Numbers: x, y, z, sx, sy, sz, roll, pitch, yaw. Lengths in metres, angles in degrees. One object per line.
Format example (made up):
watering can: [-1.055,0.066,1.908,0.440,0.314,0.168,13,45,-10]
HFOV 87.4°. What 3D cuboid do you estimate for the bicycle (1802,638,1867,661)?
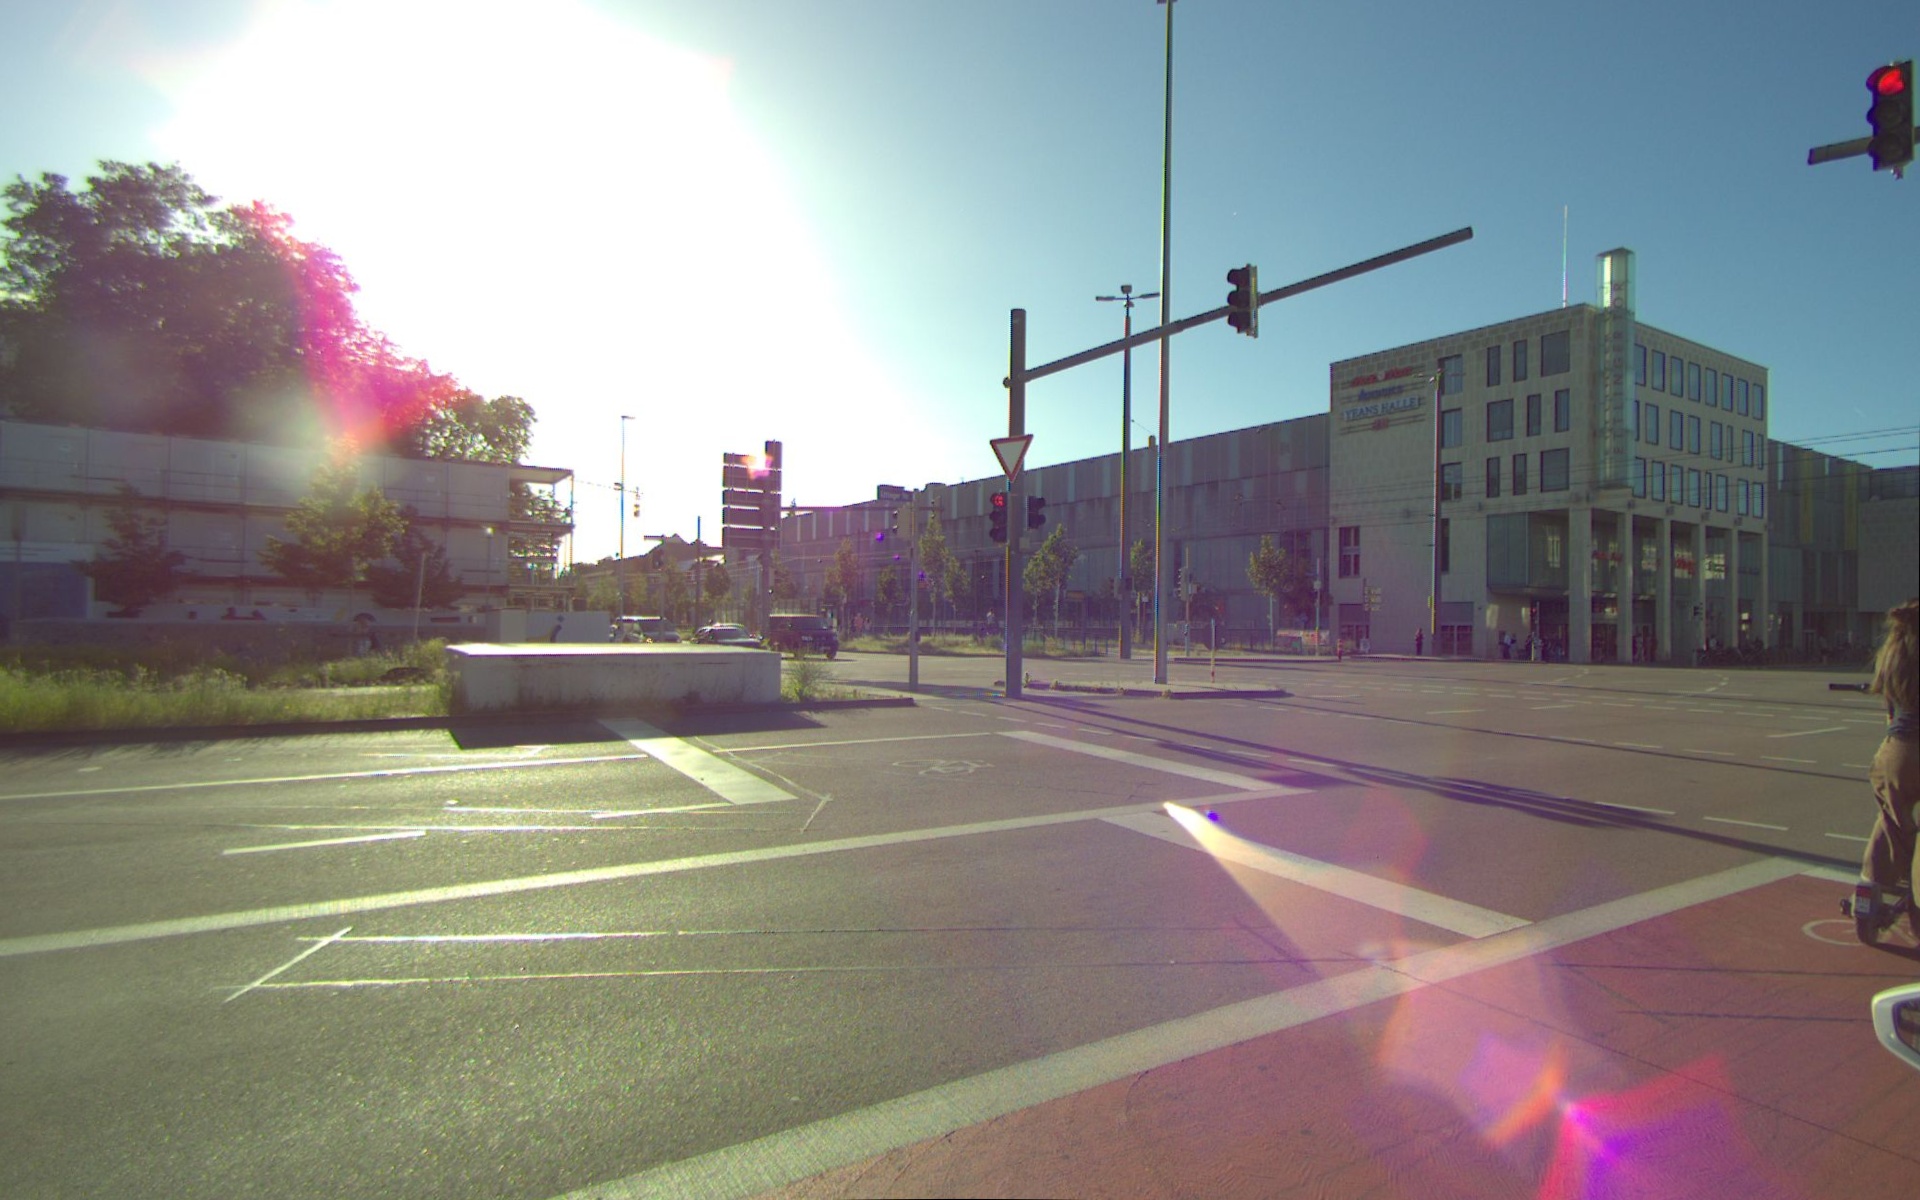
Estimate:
bicycle: [63.701,3.591,73.200,0.979,1.547,3.462,2,-2,-40]

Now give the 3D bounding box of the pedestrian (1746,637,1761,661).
pedestrian: [55.598,3.456,70.394,0.689,1.664,0.648,1,-1,-38]

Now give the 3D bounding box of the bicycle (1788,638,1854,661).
bicycle: [60.376,3.435,70.468,0.979,1.547,3.462,2,-2,-40]

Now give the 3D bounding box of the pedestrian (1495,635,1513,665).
pedestrian: [32.847,3.017,60.664,0.729,1.822,0.752,1,-1,-34]

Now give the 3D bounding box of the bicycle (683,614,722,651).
bicycle: [-14.671,1.827,57.129,1.007,2.040,3.472,1,-2,-33]

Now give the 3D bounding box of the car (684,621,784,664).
car: [-9.403,1.701,41.509,2.313,1.671,4.821,1,-2,-37]

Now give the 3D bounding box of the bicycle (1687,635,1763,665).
bicycle: [45.694,2.977,60.030,1.107,1.719,3.465,1,-2,-38]

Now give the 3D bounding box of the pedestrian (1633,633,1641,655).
pedestrian: [45.696,2.973,67.809,0.363,1.458,0.384,1,-1,-34]

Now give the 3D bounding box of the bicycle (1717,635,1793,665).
bicycle: [48.210,3.013,60.936,1.107,1.719,3.465,1,-2,-38]

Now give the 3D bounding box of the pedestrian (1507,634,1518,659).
pedestrian: [34.650,2.928,62.992,0.452,1.586,0.420,1,-1,-30]

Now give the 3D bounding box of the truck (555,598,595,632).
truck: [-33.484,1.322,87.247,1.979,2.875,6.293,1,-2,-33]

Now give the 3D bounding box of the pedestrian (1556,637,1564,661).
pedestrian: [36.847,3.003,61.676,0.380,1.431,0.438,0,-1,21]

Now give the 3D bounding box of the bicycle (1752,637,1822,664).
bicycle: [54.500,3.322,66.250,0.979,1.719,3.462,2,-2,-40]

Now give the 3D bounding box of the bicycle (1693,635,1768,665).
bicycle: [46.589,2.982,60.808,1.107,1.719,3.465,1,-2,-38]

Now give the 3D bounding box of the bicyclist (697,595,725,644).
bicyclist: [-13.878,1.107,55.961,1.007,2.677,1.610,1,-1,-34]

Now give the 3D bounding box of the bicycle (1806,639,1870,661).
bicycle: [64.500,3.647,73.849,0.979,1.547,3.462,2,-2,-40]

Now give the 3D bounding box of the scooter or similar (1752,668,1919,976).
scooter or similar: [4.563,0.960,4.761,1.645,1.218,0.725,1,-1,-30]

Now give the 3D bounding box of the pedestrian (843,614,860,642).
pedestrian: [-7.104,1.823,65.760,0.889,1.855,0.787,1,-1,-35]

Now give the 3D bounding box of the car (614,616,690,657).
car: [-14.823,1.700,48.126,1.981,1.849,4.821,1,-2,-36]

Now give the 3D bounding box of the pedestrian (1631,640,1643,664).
pedestrian: [44.310,3.401,65.720,0.508,1.606,0.479,1,-1,-34]

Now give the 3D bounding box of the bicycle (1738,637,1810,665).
bicycle: [51.940,3.228,64.156,0.979,1.719,3.462,2,-2,-40]

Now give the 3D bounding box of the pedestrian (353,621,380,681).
pedestrian: [-16.975,1.444,28.730,0.619,1.674,0.935,1,-1,-30]

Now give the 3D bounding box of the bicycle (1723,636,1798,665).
bicycle: [49.139,3.080,61.736,1.107,1.719,3.465,1,-2,-38]

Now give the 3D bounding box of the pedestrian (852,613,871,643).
pedestrian: [-6.058,1.745,61.989,0.889,1.855,0.787,1,-1,-35]

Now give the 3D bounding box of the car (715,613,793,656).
car: [-10.395,1.692,50.415,1.981,2.040,4.821,1,-2,-36]

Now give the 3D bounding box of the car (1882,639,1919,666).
car: [57.662,3.164,60.941,3.964,1.505,1.978,2,-2,-38]

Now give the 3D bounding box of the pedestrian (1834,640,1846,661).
pedestrian: [68.968,3.958,78.704,0.688,1.664,0.692,0,-1,38]

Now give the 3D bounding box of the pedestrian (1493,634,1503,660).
pedestrian: [34.113,2.976,63.670,0.452,1.586,0.420,1,-1,-30]

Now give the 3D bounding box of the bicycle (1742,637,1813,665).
bicycle: [52.854,3.260,64.960,0.979,1.719,3.462,2,-2,-40]

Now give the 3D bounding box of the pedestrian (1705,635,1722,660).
pedestrian: [50.337,3.188,67.111,0.690,1.664,0.777,2,-1,-43]

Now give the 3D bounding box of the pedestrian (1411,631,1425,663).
pedestrian: [24.311,2.485,53.335,0.543,1.716,0.521,1,-1,-40]

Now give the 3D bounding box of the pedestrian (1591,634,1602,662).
pedestrian: [37.254,2.803,58.802,0.532,1.664,0.549,0,-1,28]

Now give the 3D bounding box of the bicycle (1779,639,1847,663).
bicycle: [58.869,3.481,69.387,0.979,1.547,3.462,2,-2,-40]

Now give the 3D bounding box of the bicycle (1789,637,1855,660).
bicycle: [61.183,3.453,71.300,0.979,1.547,3.462,2,-2,-40]

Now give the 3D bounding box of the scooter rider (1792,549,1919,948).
scooter rider: [4.630,0.679,4.836,0.801,1.798,0.725,1,-1,-30]

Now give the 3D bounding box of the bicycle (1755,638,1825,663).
bicycle: [55.251,3.330,66.918,0.979,1.547,3.462,2,-2,-40]

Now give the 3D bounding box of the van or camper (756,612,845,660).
van or camper: [-7.283,1.589,45.570,1.981,2.040,4.821,1,-2,-36]

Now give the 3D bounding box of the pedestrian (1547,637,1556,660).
pedestrian: [36.421,2.977,61.883,0.380,1.445,0.503,1,-1,21]

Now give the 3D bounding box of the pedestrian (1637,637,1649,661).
pedestrian: [44.917,3.215,66.045,0.508,1.530,0.479,1,-1,-34]

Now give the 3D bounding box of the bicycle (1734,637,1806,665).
bicycle: [51.114,3.191,63.421,0.979,1.719,3.462,2,-2,-40]

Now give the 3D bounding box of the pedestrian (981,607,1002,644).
pedestrian: [1.580,1.267,50.591,0.788,1.855,0.706,1,-1,-37]
